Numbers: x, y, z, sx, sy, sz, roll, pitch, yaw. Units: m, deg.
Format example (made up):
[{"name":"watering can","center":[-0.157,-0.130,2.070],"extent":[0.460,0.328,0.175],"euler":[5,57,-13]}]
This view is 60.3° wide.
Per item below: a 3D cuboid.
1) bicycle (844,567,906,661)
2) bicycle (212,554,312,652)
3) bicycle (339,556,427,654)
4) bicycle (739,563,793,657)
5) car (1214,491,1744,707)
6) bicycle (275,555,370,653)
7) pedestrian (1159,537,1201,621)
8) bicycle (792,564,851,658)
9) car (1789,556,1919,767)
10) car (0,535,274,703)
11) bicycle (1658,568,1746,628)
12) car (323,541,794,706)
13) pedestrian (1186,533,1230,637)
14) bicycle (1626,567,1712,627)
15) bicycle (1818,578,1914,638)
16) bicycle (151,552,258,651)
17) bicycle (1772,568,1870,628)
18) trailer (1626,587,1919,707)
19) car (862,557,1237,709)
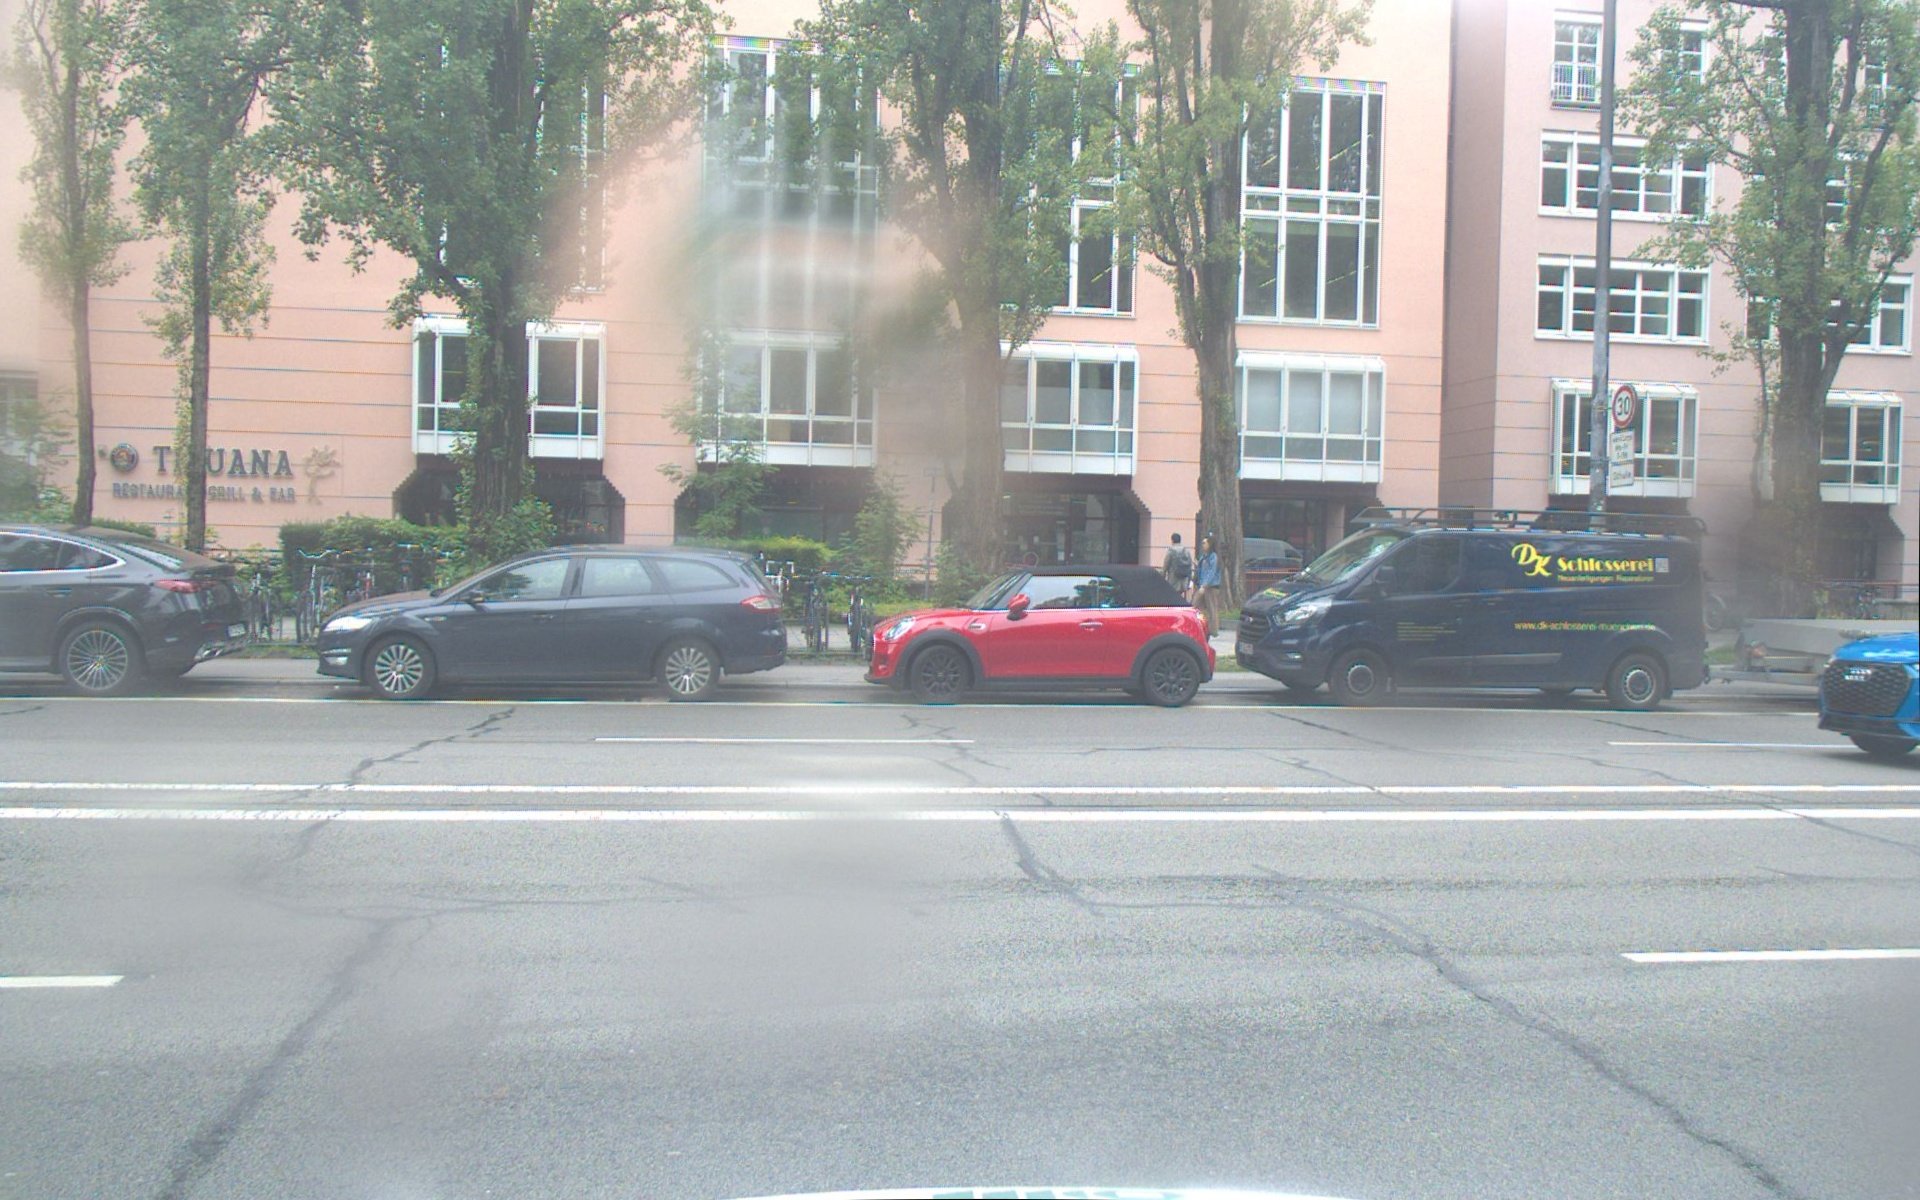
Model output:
[{"name":"bicycle","center":[-1.135,0.162,21.875],"extent":[0.661,1.144,1.727],"euler":[1,2,-8]},{"name":"bicycle","center":[-8.731,0.014,20.763],"extent":[0.661,1.144,1.986],"euler":[1,2,-8]},{"name":"bicycle","center":[-7.283,0.037,20.964],"extent":[0.661,1.144,1.986],"euler":[1,2,-8]},{"name":"bicycle","center":[-2.552,0.111,21.645],"extent":[0.661,1.144,1.739],"euler":[1,2,-8]},{"name":"car","center":[5.805,-0.023,18.801],"extent":[5.377,2.235,2.020],"euler":[1,2,-9]},{"name":"bicycle","center":[-8.008,0.026,20.852],"extent":[0.661,1.144,1.986],"euler":[1,2,-8]},{"name":"pedestrian","center":[4.660,-0.456,35.087],"extent":[0.693,1.743,0.731],"euler":[1,2,-6]},{"name":"bicycle","center":[-1.835,0.122,21.746],"extent":[0.661,1.144,1.739],"euler":[1,2,-8]},{"name":"car","center":[9.387,0.502,13.580],"extent":[4.325,1.606,1.868],"euler":[1,0,-8]},{"name":"car","center":[-9.372,0.143,16.394],"extent":[4.416,1.555,1.790],"euler":[1,2,-9]},{"name":"bicycle","center":[15.153,-0.060,33.832],"extent":[0.661,1.144,1.986],"euler":[1,2,-8]},{"name":"car","center":[-4.043,0.219,17.214],"extent":[4.523,1.555,1.790],"euler":[1,2,-9]},{"name":"pedestrian","center":[4.081,-0.253,27.215],"extent":[0.546,1.692,0.620],"euler":[1,2,-5]},{"name":"bicycle","center":[14.436,-0.079,33.721],"extent":[0.661,1.144,1.986],"euler":[1,2,-8]},{"name":"bicycle","center":[18.689,0.154,34.161],"extent":[0.661,1.144,1.986],"euler":[1,2,-8]},{"name":"bicycle","center":[-9.401,-0.009,20.657],"extent":[0.661,1.144,1.986],"euler":[1,2,-8]},{"name":"bicycle","center":[17.651,-0.052,33.965],"extent":[0.661,1.144,2.104],"euler":[1,2,-8]},{"name":"trailer","center":[11.326,0.545,19.678],"extent":[5.905,1.220,2.401],"euler":[1,2,-8]},{"name":"car","center":[0.888,0.327,17.782],"extent":[3.786,1.474,1.676],"euler":[1,2,-6]}]
